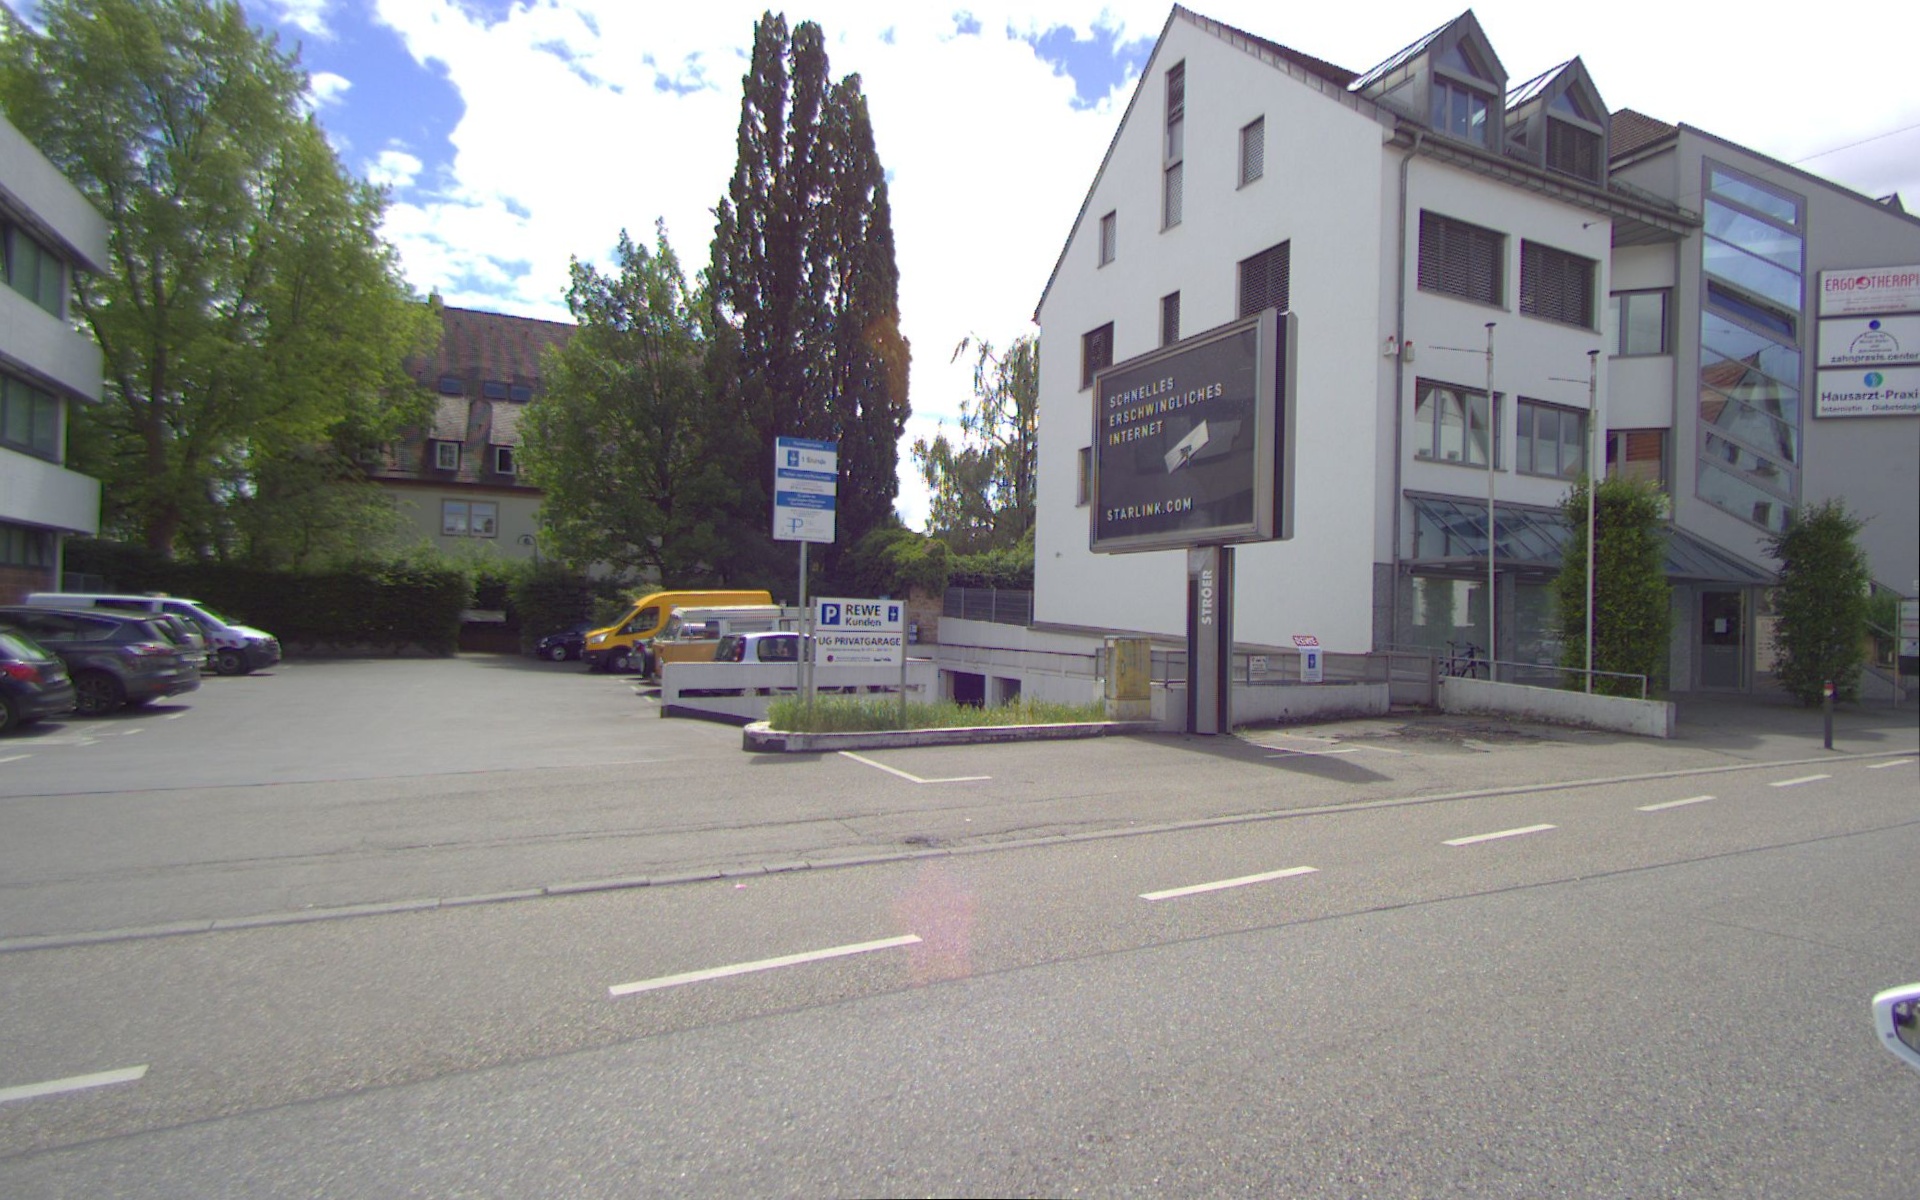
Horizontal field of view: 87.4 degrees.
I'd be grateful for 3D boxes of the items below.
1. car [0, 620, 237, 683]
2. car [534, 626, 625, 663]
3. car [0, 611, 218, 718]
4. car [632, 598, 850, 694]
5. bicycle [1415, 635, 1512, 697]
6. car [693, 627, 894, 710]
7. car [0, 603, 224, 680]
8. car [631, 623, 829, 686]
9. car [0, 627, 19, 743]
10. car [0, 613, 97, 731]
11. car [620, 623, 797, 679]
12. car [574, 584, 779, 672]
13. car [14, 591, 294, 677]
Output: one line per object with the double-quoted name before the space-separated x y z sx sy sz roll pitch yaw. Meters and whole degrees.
"car" -18.741 1.121 22.368 3.946 1.312 1.841 1 -1 -25
"car" -13.757 1.597 36.273 2.995 1.200 1.412 1 2 -24
"car" -14.720 0.988 15.944 4.438 1.599 1.915 1 -1 -27
"car" -5.003 1.036 23.058 4.589 2.016 1.831 1 -1 -27
"bicycle" 9.417 1.212 18.761 1.978 1.109 0.628 1 -1 -29
"car" -3.434 1.374 20.865 3.717 1.549 1.801 2 -1 -33
"car" -17.731 0.837 20.582 3.946 1.480 1.841 1 -1 -25
"car" -5.822 1.357 25.464 4.620 1.457 1.806 1 -1 -26
"car" -12.593 0.948 10.559 3.560 1.348 1.756 1 -2 -28
"car" -14.196 0.943 13.518 3.560 1.566 1.756 1 -2 -28
"car" -6.890 1.396 27.588 4.447 1.457 1.806 1 -3 -26
"car" -8.841 0.938 31.494 5.902 2.563 2.054 2 -3 -28
"car" -19.725 0.859 24.922 5.019 1.967 1.963 1 -1 -25
